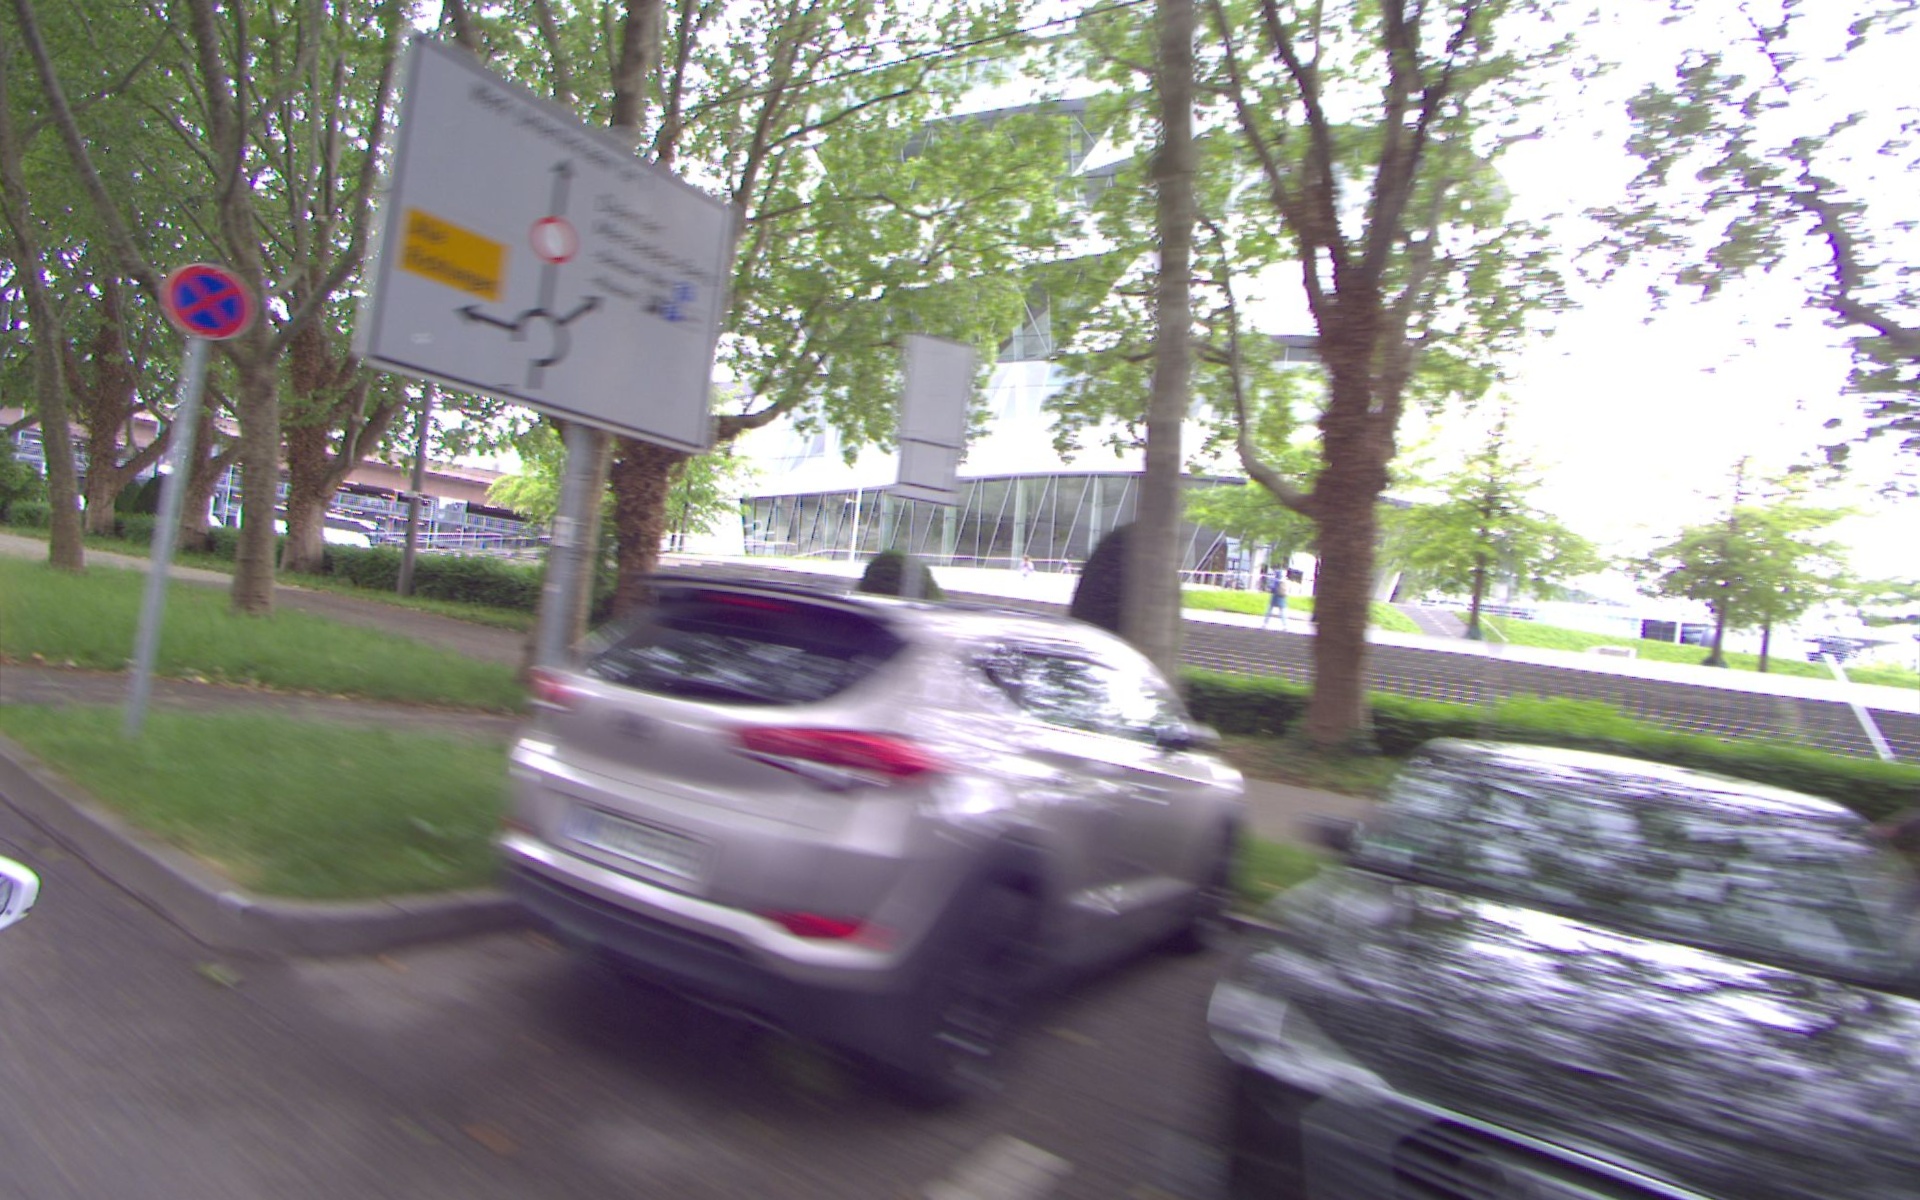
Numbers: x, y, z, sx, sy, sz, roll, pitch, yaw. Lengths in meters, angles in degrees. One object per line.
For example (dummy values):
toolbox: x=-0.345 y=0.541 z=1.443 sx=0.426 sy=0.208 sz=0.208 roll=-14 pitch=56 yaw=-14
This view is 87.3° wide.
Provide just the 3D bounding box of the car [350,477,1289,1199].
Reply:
car: x=-0.032 y=0.750 z=4.757 sx=1.893 sy=1.652 sz=4.356 roll=8 pitch=-2 yaw=32

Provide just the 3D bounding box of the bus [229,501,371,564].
bus: x=-60.260 y=-6.081 z=92.320 sx=2.707 sy=3.979 sz=11.092 roll=7 pitch=-2 yaw=21

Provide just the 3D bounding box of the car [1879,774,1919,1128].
car: x=4.119 y=1.312 z=2.385 sx=1.893 sy=1.652 sz=4.356 roll=8 pitch=-2 yaw=32

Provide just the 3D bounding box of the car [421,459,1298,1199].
car: x=0.032 y=0.824 z=4.852 sx=1.967 sy=2.036 sz=3.996 roll=8 pitch=-2 yaw=32

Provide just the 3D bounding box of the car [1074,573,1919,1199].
car: x=2.249 y=1.092 z=3.590 sx=1.893 sy=1.623 sz=4.356 roll=8 pitch=-2 yaw=32

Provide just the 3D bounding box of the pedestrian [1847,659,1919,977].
pedestrian: x=6.600 y=1.443 z=6.692 sx=0.587 sy=2.037 sz=0.788 roll=7 pitch=-1 yaw=15
